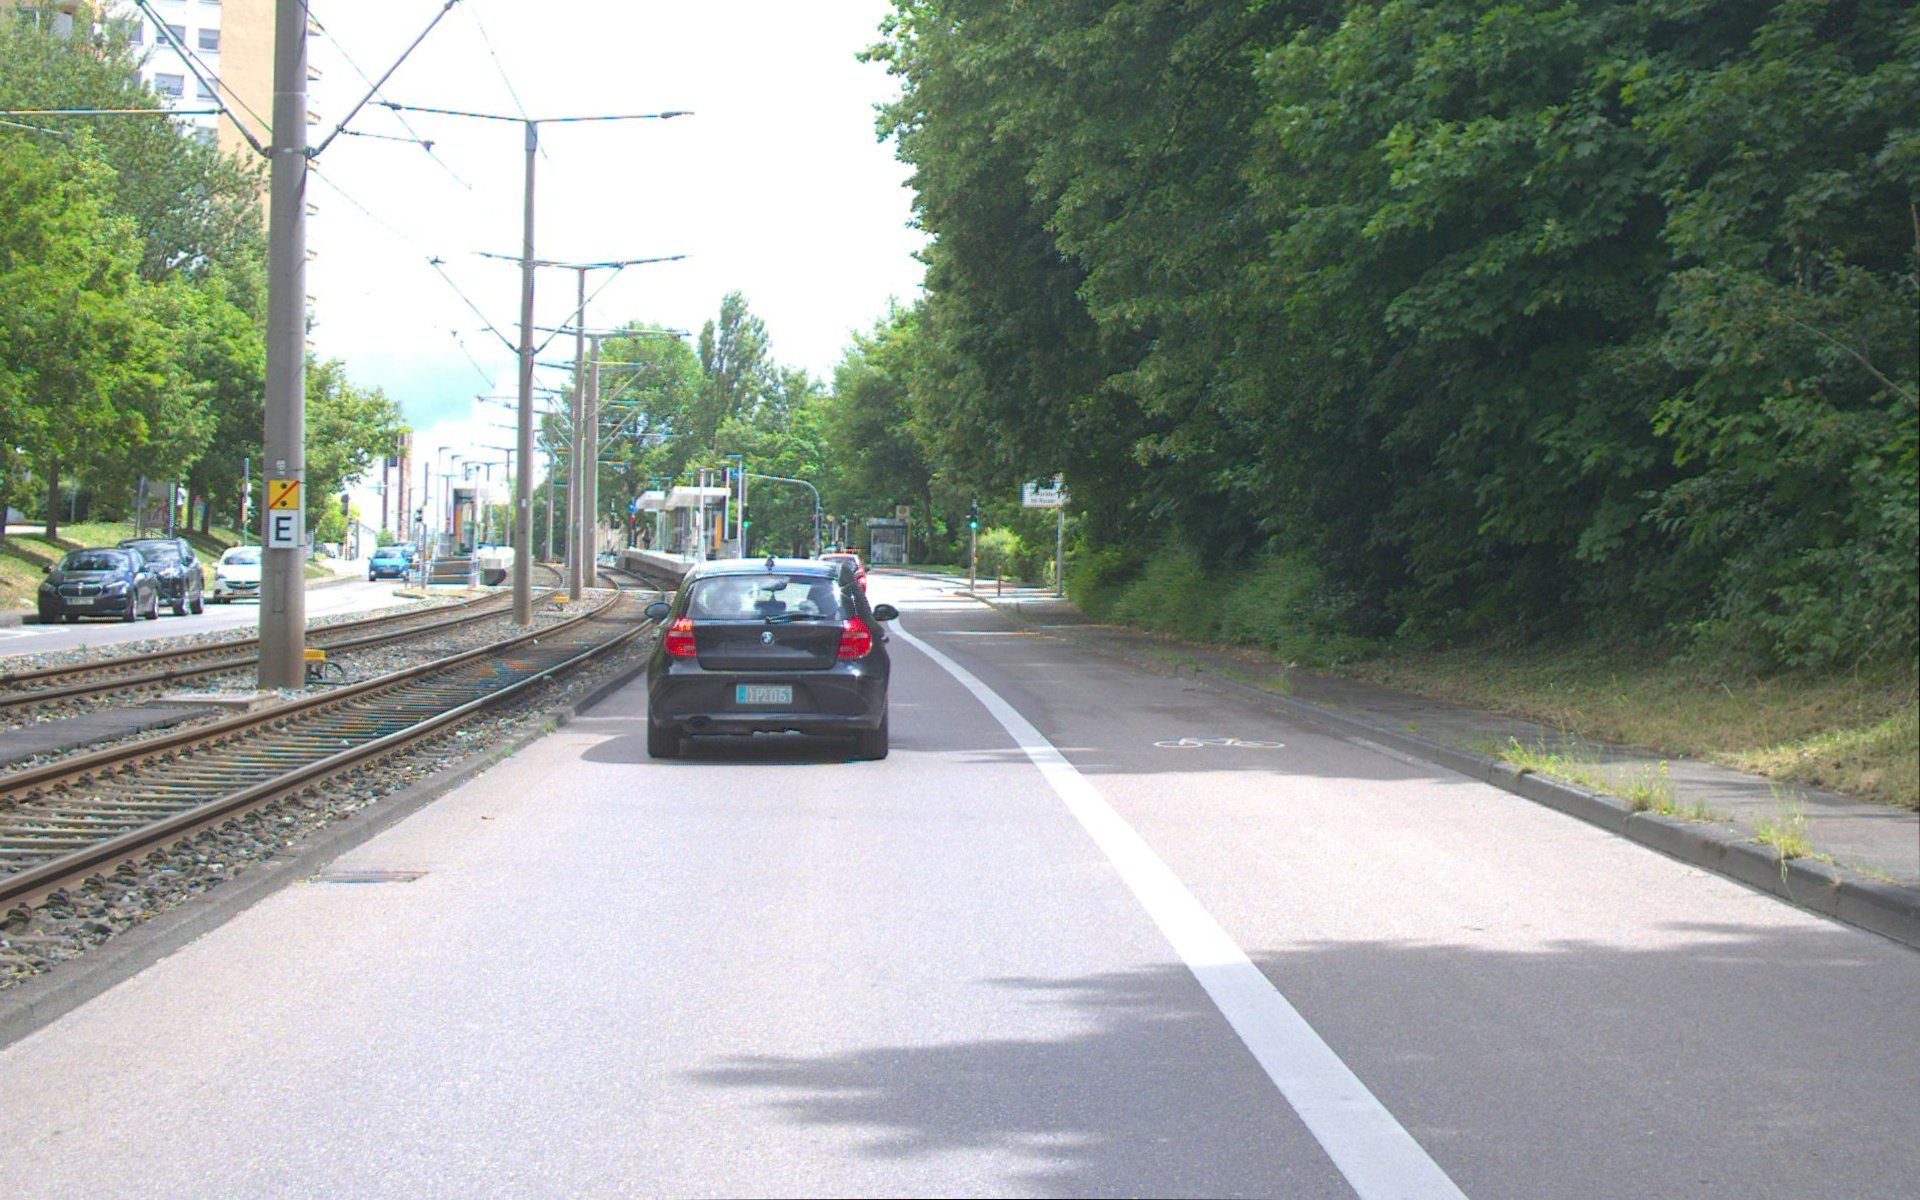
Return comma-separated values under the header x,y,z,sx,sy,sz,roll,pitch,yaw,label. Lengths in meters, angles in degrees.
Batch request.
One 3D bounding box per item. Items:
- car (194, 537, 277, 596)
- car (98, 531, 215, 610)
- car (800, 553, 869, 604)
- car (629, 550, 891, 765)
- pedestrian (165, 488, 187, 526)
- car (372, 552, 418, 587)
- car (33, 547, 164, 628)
x,y,z,sx,sy,sz,roll,pitch,yaw,label
-18.965,-0.889,90.106,1.781,1.527,4.245,0,1,-7,car
-17.030,-0.609,73.040,1.774,1.624,4.383,0,0,-4,car
-3.736,-0.635,101.757,1.781,1.454,3.922,1,1,-5,car
-1.495,0.365,25.490,1.781,1.454,3.922,0,1,-4,car
-31.702,-3.742,139.002,0.634,1.529,0.634,1,1,16,pedestrian
-24.384,-1.317,148.286,1.715,1.437,3.944,1,1,-13,car
-16.562,-0.261,66.243,1.774,1.493,3.998,1,1,-4,car
